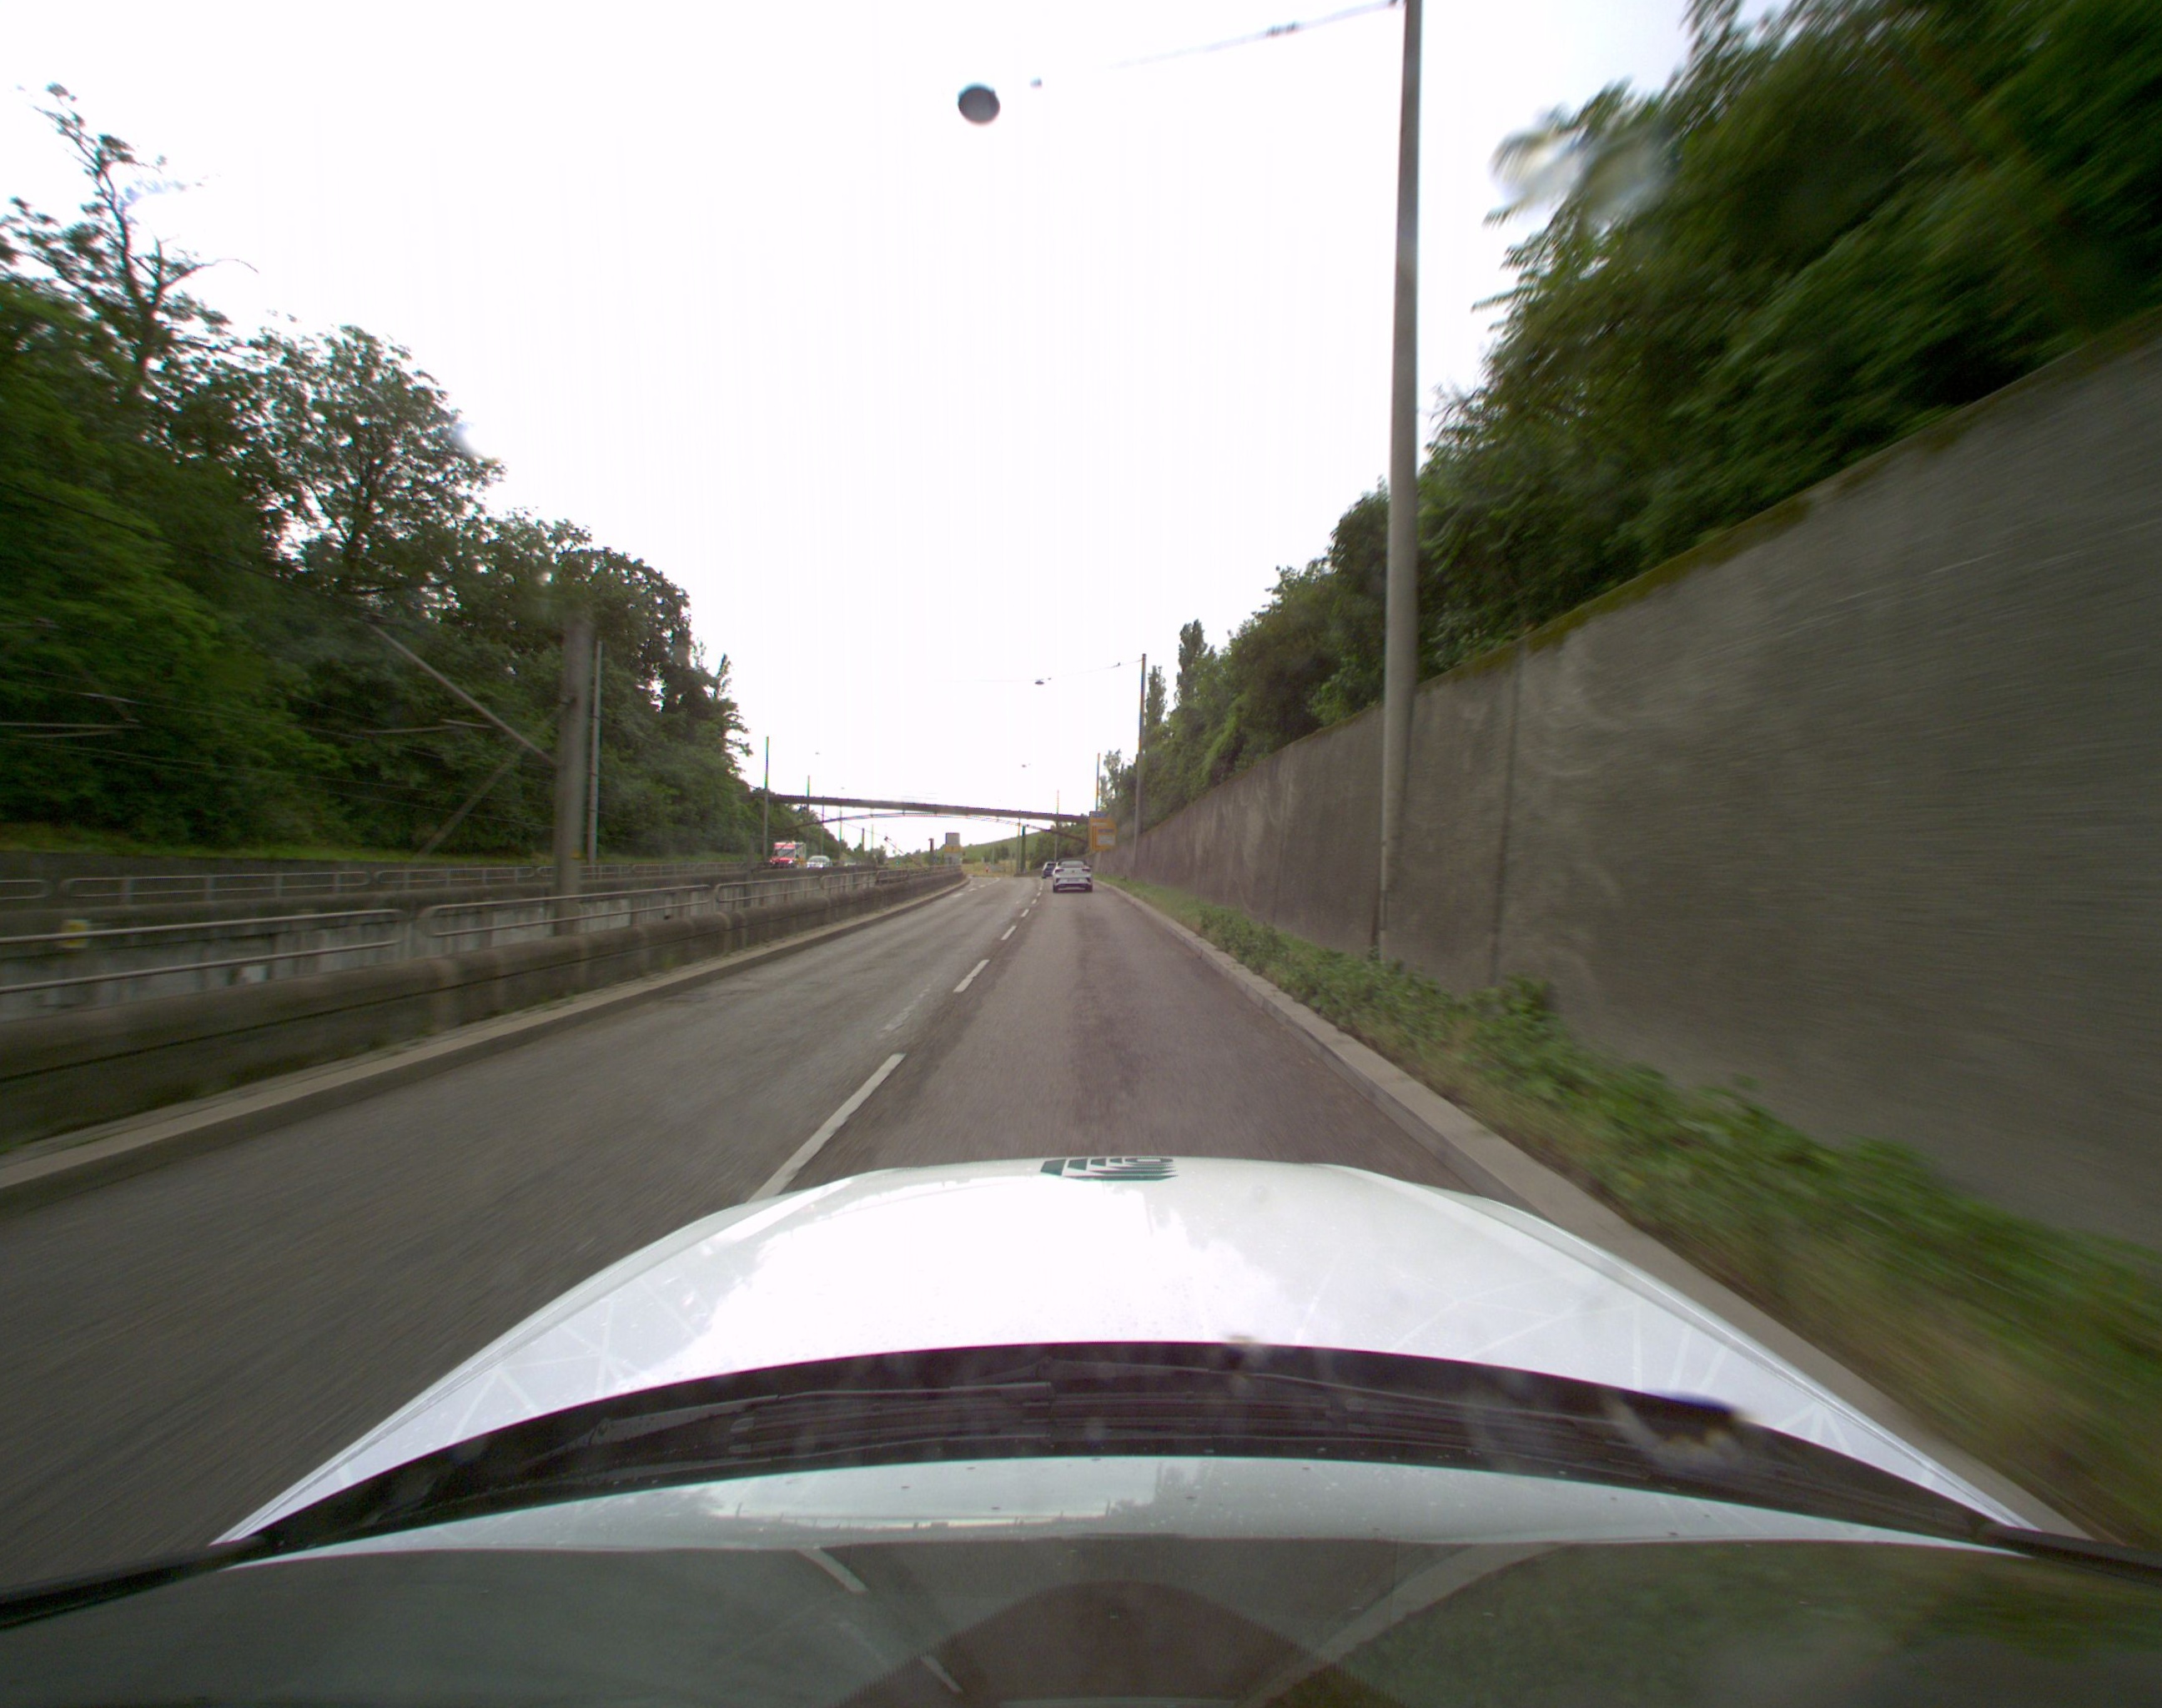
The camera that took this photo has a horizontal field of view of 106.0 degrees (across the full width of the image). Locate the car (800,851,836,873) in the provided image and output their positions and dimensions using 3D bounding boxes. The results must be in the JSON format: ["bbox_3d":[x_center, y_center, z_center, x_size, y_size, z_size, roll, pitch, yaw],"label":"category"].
[{"bbox_3d":[-21.175,0.660,65.645,1.814,1.704,4.104,-1,-1,-4],"label":"car"}]

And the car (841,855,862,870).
[{"bbox_3d":[-28.603,1.036,101.595,1.961,1.750,4.127,-1,-1,-9],"label":"car"}]

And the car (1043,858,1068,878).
[{"bbox_3d":[-2.179,1.197,71.153,1.919,1.599,4.063,-1,0,2],"label":"car"}]

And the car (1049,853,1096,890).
[{"bbox_3d":[-0.456,0.776,37.754,1.991,1.578,4.120,-1,0,-3],"label":"car"}]

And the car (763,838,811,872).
[{"bbox_3d":[-25.096,0.139,69.701,2.179,2.734,6.334,-1,-1,-4],"label":"car"}]
